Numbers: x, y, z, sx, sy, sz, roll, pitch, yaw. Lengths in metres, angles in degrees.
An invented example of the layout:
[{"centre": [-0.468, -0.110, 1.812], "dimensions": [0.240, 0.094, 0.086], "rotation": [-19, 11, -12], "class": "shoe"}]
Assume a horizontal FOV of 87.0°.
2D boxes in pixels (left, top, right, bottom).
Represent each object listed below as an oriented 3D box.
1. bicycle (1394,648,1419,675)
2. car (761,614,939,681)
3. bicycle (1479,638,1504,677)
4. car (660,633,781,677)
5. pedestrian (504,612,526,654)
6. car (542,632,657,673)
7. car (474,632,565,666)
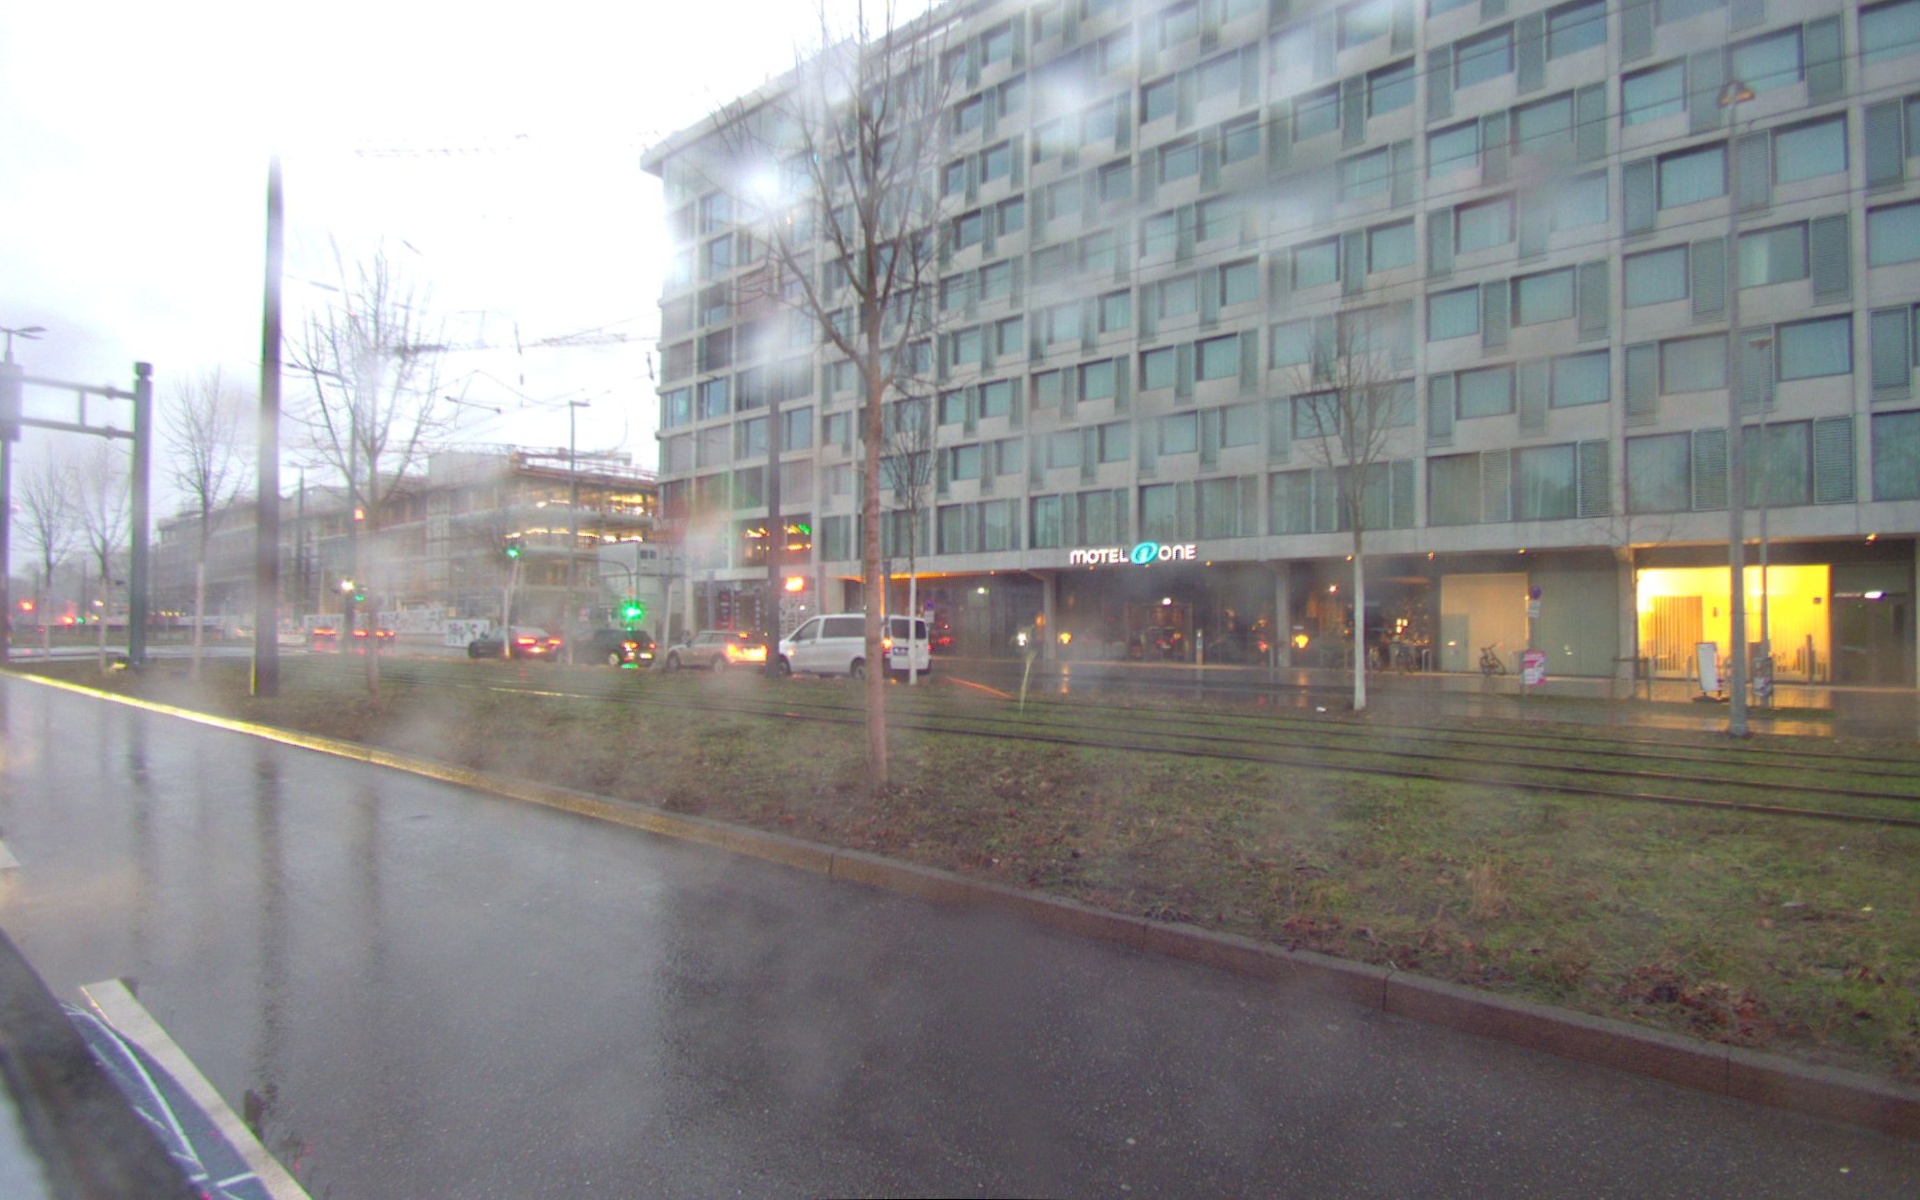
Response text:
[{"centre": [15.805, 2.171, 35.790], "dimensions": [0.465, 0.860, 1.332], "rotation": [-1, 0, 39], "class": "bicycle"}, {"centre": [-3.119, 1.282, 27.974], "dimensions": [5.041, 1.682, 2.060], "rotation": [-1, -3, 41], "class": "car"}, {"centre": [18.104, 1.934, 34.431], "dimensions": [0.465, 1.247, 1.520], "rotation": [-1, 0, 39], "class": "bicycle"}, {"centre": [-7.712, 1.722, 32.375], "dimensions": [3.998, 1.317, 1.793], "rotation": [-1, -3, 41], "class": "car"}, {"centre": [-19.614, 1.451, 44.648], "dimensions": [0.699, 1.818, 0.771], "rotation": [-1, 0, -10], "class": "pedestrian"}, {"centre": [-13.173, 1.864, 36.912], "dimensions": [4.254, 1.411, 2.084], "rotation": [-1, -3, 40], "class": "car"}, {"centre": [-17.765, 1.933, 40.757], "dimensions": [3.997, 1.284, 1.793], "rotation": [-1, -3, 40], "class": "car"}]
